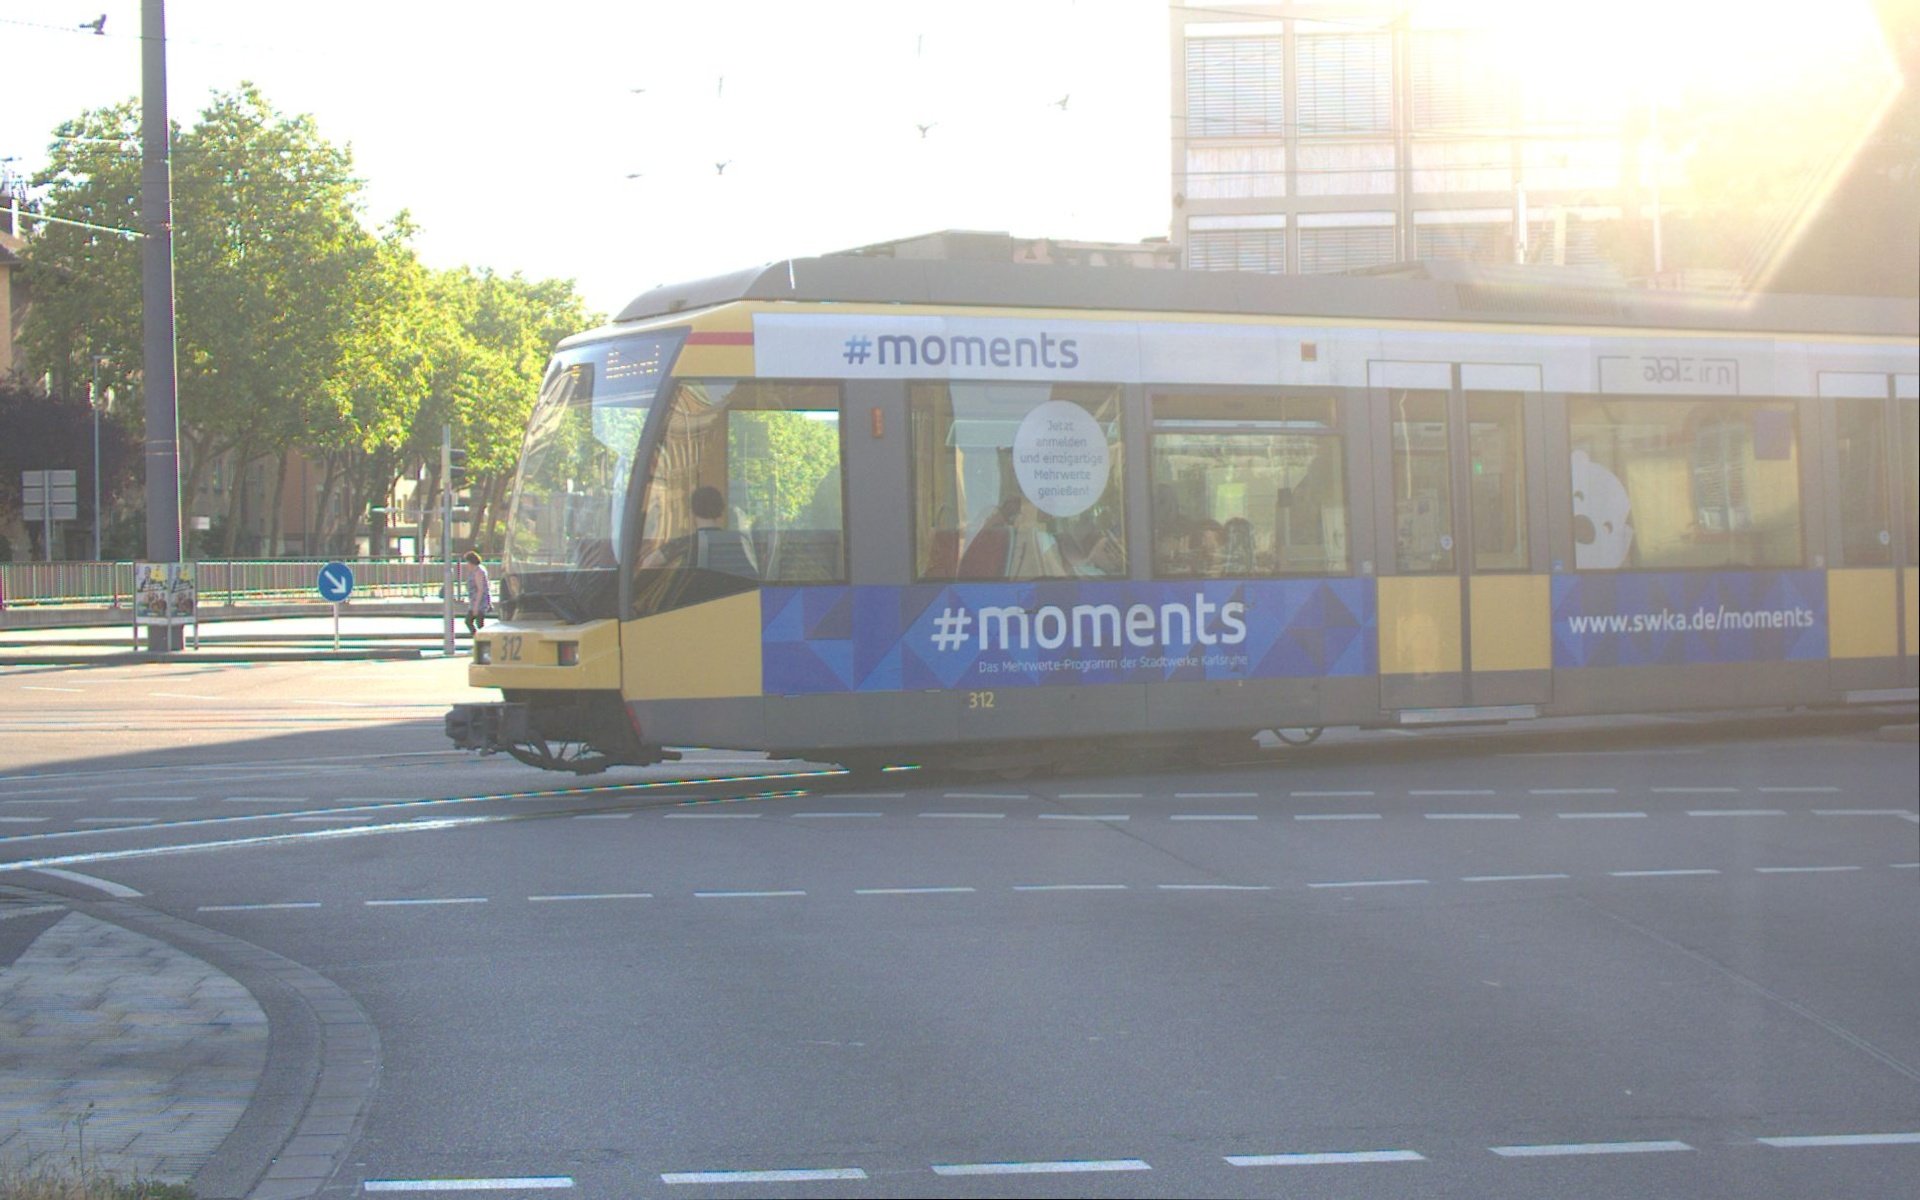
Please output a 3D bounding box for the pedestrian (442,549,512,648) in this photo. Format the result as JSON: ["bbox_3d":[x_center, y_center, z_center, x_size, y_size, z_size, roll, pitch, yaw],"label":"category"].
[{"bbox_3d":[-7.357,-0.021,52.353,0.853,1.460,0.686,1,-5,-29],"label":"pedestrian"}]

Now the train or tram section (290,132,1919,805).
[{"bbox_3d":[2.221,-0.852,24.664,13.317,3.820,3.715,-1,1,-32],"label":"train or tram section"}]

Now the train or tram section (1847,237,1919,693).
[{"bbox_3d":[14.484,-1.128,29.645,12.933,3.820,3.717,0,1,-12],"label":"train or tram section"}]
